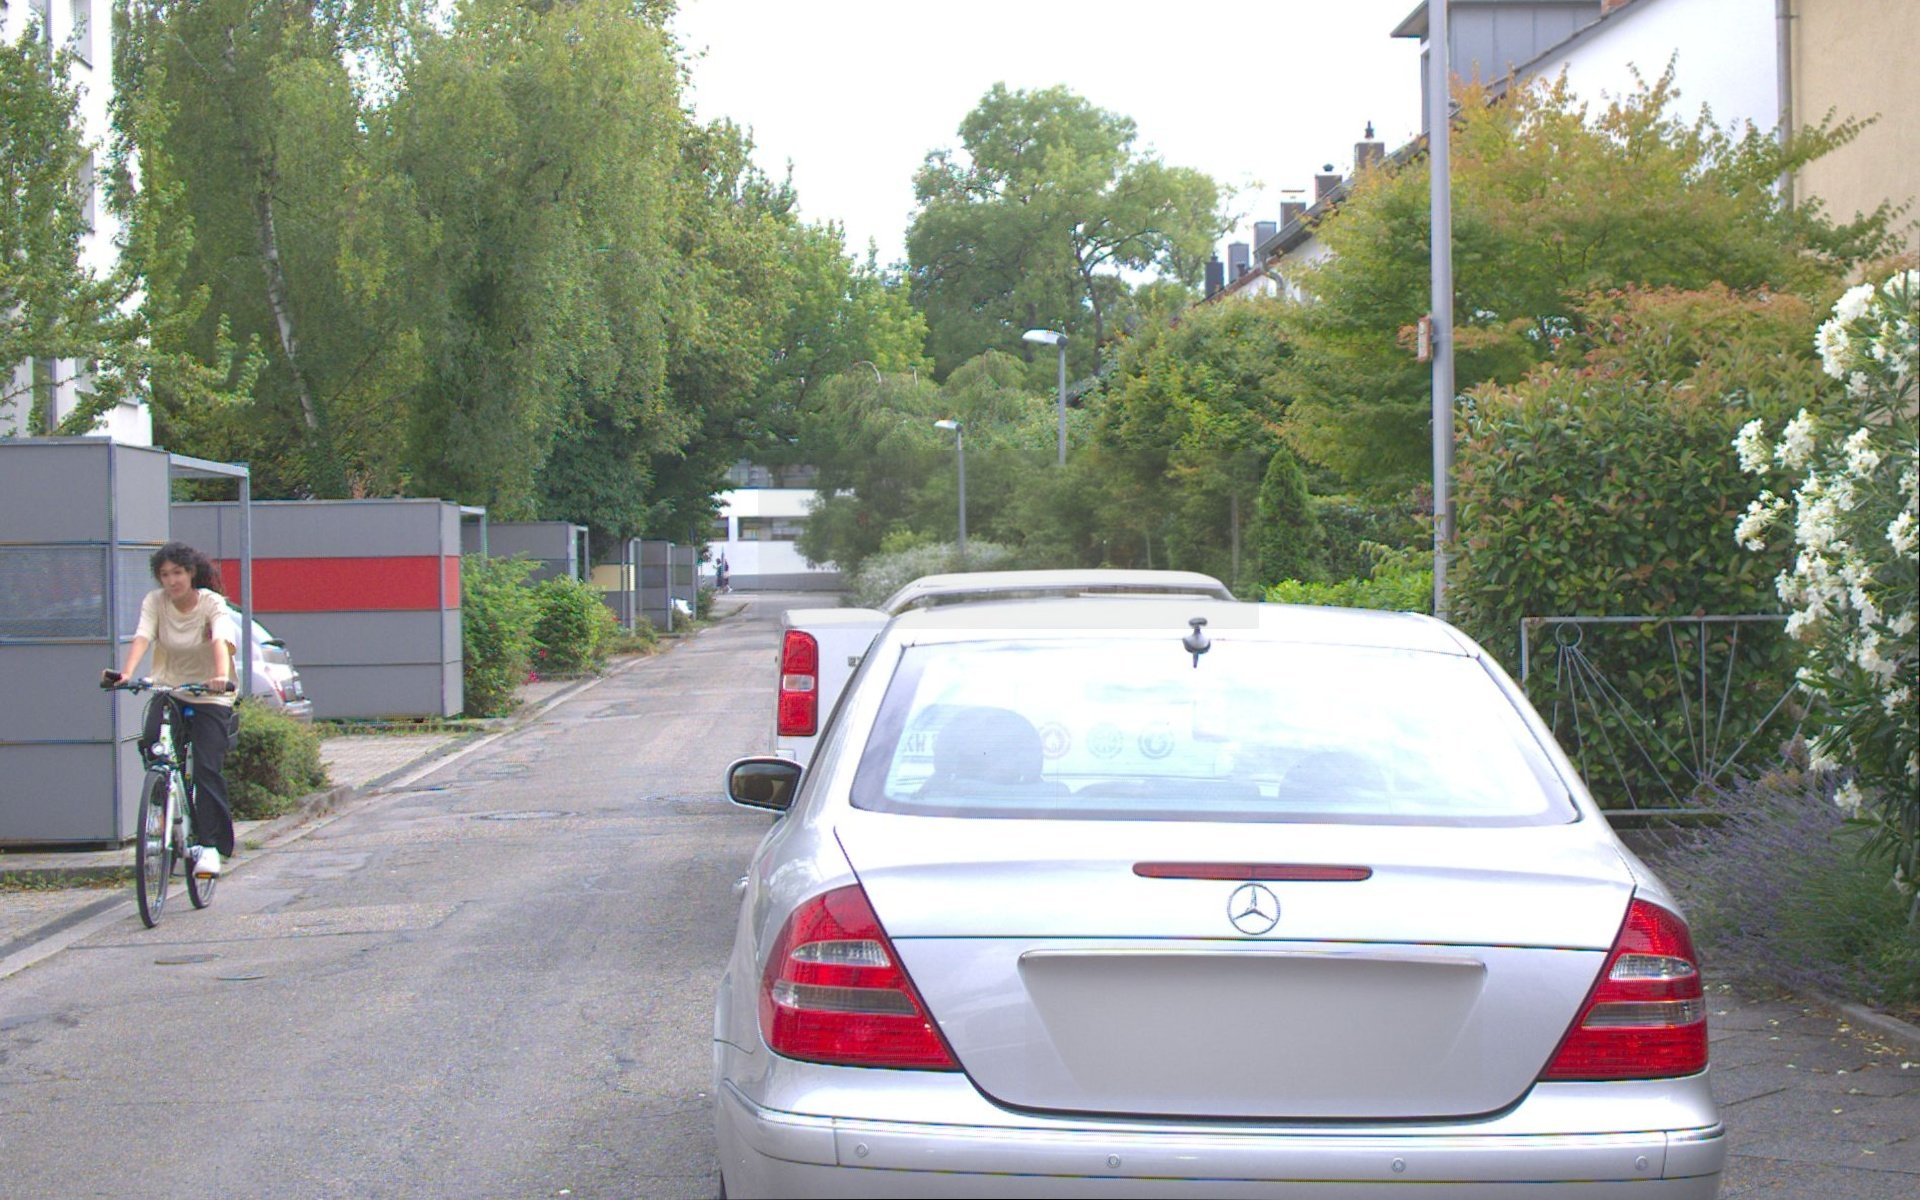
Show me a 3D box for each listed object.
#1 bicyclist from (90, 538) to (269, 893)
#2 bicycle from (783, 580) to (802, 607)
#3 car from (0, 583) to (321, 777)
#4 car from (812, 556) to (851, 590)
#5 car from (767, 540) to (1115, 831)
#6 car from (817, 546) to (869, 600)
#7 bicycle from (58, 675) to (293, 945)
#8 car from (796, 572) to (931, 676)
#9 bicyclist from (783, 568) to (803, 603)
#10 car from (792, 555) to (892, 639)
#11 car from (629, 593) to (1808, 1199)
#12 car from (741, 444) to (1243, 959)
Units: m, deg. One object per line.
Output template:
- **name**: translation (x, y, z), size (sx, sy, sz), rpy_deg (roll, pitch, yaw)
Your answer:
- **bicyclist**: translation (-3.590, 0.517, 15.864), size (0.597, 1.575, 0.767), rpy_deg (-2, 0, -1)
- **bicycle**: translation (-7.140, -0.296, 146.679), size (0.689, 1.127, 2.579), rpy_deg (1, 0, 0)
- **car**: translation (-7.241, 0.664, 28.765), size (3.561, 1.475, 1.711), rpy_deg (-2, 1, -6)
- **car**: translation (-6.184, -1.309, 165.332), size (1.825, 1.576, 4.000), rpy_deg (1, 1, -2)
- **car**: translation (-0.220, 0.465, 21.480), size (1.824, 1.630, 4.163), rpy_deg (0, 1, -5)
- **car**: translation (-4.209, -0.992, 124.406), size (1.825, 1.877, 4.000), rpy_deg (1, 1, -2)
- **bicycle**: translation (-3.576, 0.928, 15.826), size (0.597, 1.072, 2.042), rpy_deg (-2, 1, -1)
- **car**: translation (-1.381, 0.311, 49.136), size (1.825, 1.365, 4.331), rpy_deg (1, 1, -2)
- **bicyclist**: translation (-7.139, -0.615, 146.698), size (0.798, 1.506, 0.934), rpy_deg (1, 0, 0)
- **car**: translation (-2.357, -0.087, 67.756), size (1.825, 1.576, 4.001), rpy_deg (1, 1, -4)
- **car**: translation (0.368, 0.717, 7.448), size (1.783, 1.416, 4.455), rpy_deg (0, 1, -1)
- **car**: translation (-0.002, 0.367, 15.765), size (1.903, 1.958, 5.254), rpy_deg (0, 1, -3)
